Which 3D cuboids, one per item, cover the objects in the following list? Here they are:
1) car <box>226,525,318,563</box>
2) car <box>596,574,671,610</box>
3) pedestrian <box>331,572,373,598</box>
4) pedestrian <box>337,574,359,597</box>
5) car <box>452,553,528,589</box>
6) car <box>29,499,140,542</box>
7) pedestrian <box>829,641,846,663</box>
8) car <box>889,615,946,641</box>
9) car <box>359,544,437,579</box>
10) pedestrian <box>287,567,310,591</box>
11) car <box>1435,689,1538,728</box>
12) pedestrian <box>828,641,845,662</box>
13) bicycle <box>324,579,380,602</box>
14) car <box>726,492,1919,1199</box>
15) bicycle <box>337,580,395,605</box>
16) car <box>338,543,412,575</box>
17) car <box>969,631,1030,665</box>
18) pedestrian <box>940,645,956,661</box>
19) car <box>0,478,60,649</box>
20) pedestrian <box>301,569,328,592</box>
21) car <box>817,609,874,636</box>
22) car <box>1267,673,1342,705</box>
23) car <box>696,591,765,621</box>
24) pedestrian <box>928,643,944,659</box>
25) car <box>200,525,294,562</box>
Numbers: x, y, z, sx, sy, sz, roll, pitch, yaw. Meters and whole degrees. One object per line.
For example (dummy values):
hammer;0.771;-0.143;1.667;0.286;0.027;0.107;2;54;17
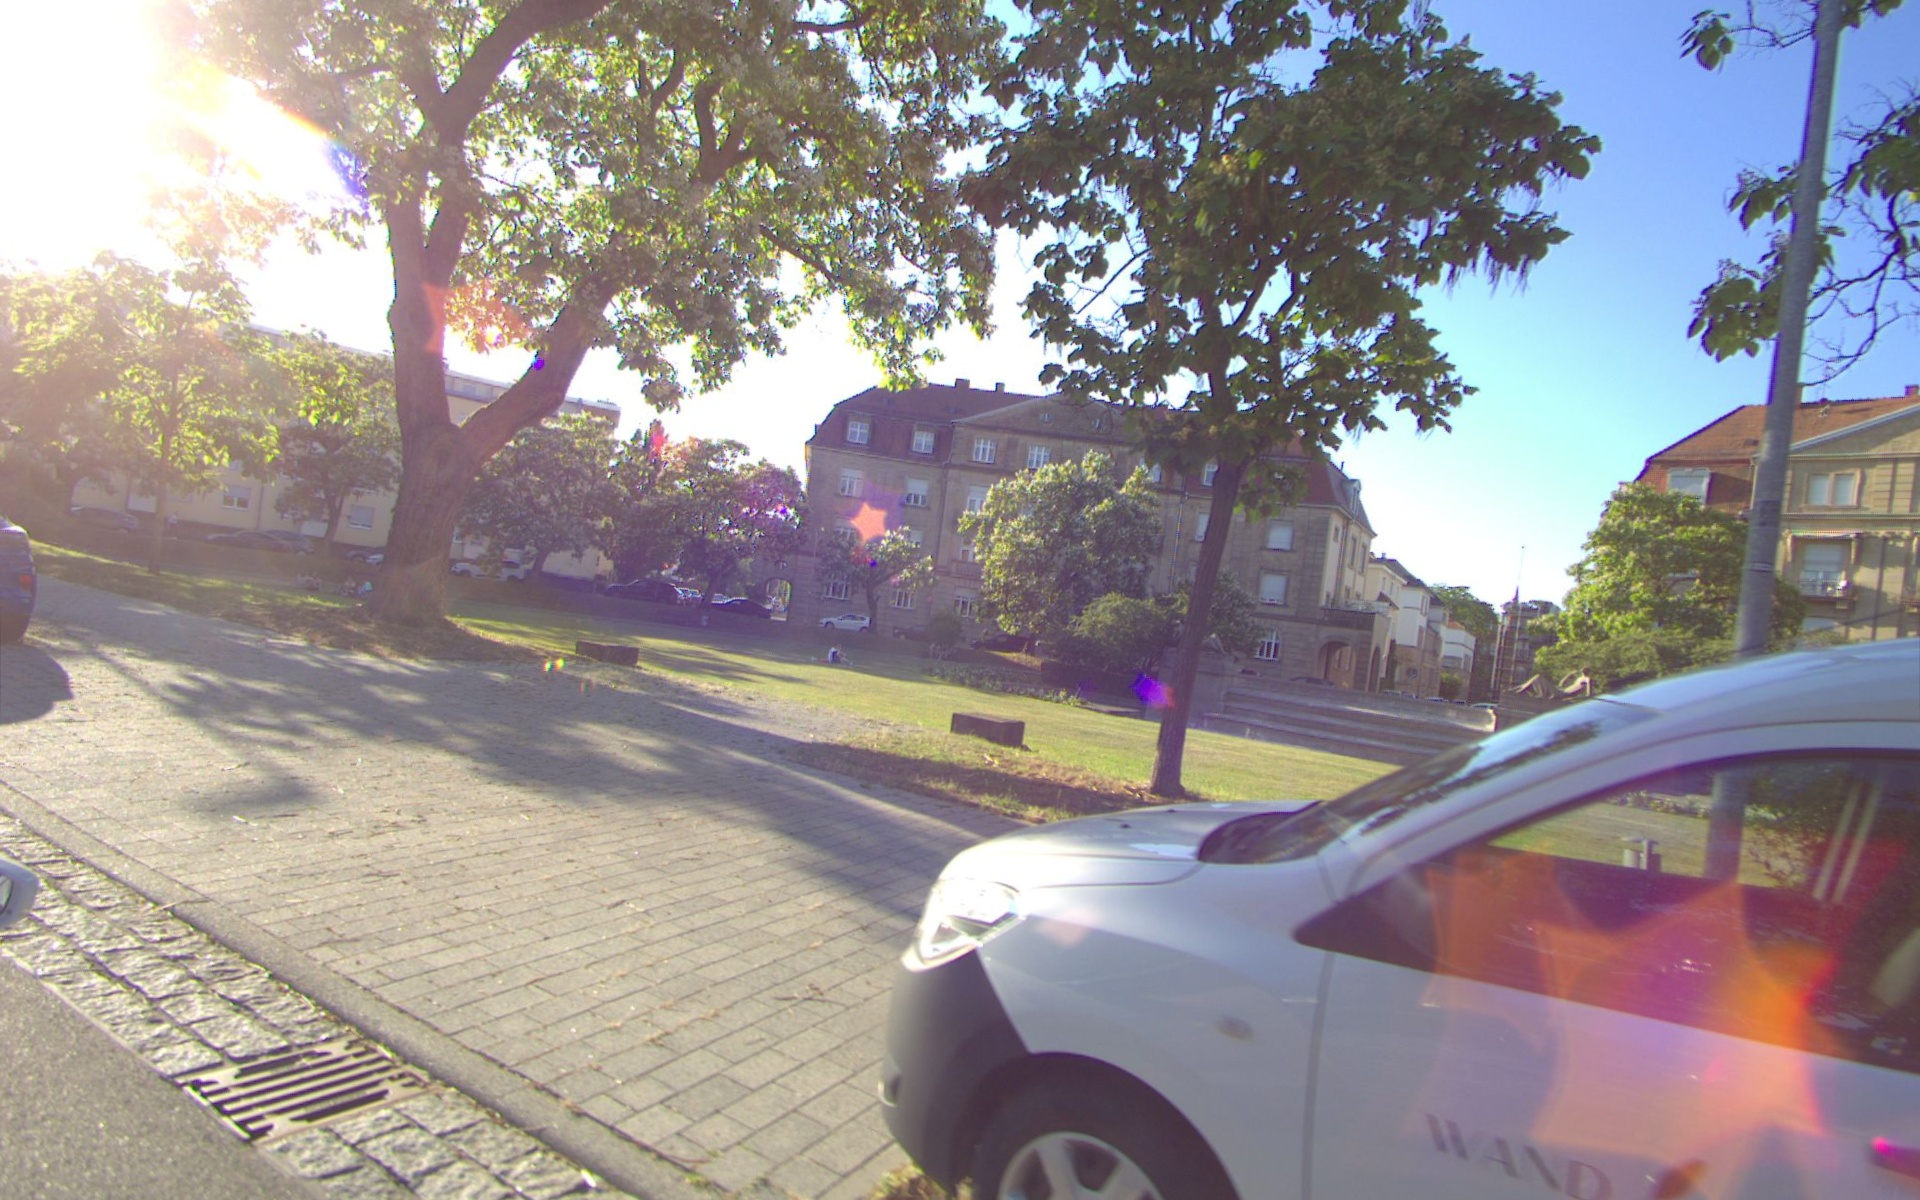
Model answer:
car;-42.719;-3.466;62.506;4.494;1.587;1.860;9;-2;-40
car;-21.519;-0.535;66.556;4.457;1.766;1.875;8;-1;-15
pedestrian;-24.851;-0.606;41.130;1.240;0.822;0.573;9;-2;-13
pedestrian;-25.417;-0.606;41.806;0.602;0.822;0.473;7;-2;33
car;-32.040;-1.950;68.744;4.469;1.766;1.870;8;-1;-24
car;-45.179;-4.085;51.986;4.184;1.480;1.672;9;-2;-44
pedestrian;-5.016;2.133;41.183;0.578;0.803;0.666;7;-1;-11
car;-3.169;2.106;75.392;3.924;1.470;1.882;7;-1;5
car;-34.000;-2.316;60.910;3.960;1.570;1.597;8;-1;-32
pedestrian;-26.425;-0.833;40.158;0.602;0.822;0.473;7;-2;33
car;30.058;6.178;57.502;4.877;1.434;1.813;6;-2;39
pedestrian;-5.130;2.138;41.858;0.578;0.803;0.666;7;-1;-11
bicycle;-24.102;-0.378;39.874;1.756;0.622;1.796;9;-2;-34
car;1.829;0.899;2.094;4.438;1.760;1.681;7;-1;31
bicycle;-22.931;-0.293;38.826;1.756;0.622;1.796;9;-2;-34
car;-37.973;-2.638;65.408;3.959;1.470;1.866;8;-1;-31
car;2.723;3.321;69.136;3.925;1.725;2.002;8;-2;4
pedestrian;-0.699;3.087;58.406;0.655;0.803;0.587;7;-1;20
car;-10.977;-0.592;10.080;4.205;1.569;1.734;7;-1;32
pedestrian;-26.630;-0.808;41.527;0.712;0.822;0.612;7;-2;33
car;-8.564;1.719;75.314;3.926;1.470;1.881;8;-1;0
car;21.763;5.596;63.583;4.028;1.434;1.816;7;-1;32
car;-15.560;0.420;68.433;4.292;1.470;1.879;8;-1;-7
pedestrian;-1.407;2.978;58.650;0.655;0.803;0.587;7;-1;20
car;-40.184;-3.177;56.749;4.177;1.373;1.675;9;-2;-38
